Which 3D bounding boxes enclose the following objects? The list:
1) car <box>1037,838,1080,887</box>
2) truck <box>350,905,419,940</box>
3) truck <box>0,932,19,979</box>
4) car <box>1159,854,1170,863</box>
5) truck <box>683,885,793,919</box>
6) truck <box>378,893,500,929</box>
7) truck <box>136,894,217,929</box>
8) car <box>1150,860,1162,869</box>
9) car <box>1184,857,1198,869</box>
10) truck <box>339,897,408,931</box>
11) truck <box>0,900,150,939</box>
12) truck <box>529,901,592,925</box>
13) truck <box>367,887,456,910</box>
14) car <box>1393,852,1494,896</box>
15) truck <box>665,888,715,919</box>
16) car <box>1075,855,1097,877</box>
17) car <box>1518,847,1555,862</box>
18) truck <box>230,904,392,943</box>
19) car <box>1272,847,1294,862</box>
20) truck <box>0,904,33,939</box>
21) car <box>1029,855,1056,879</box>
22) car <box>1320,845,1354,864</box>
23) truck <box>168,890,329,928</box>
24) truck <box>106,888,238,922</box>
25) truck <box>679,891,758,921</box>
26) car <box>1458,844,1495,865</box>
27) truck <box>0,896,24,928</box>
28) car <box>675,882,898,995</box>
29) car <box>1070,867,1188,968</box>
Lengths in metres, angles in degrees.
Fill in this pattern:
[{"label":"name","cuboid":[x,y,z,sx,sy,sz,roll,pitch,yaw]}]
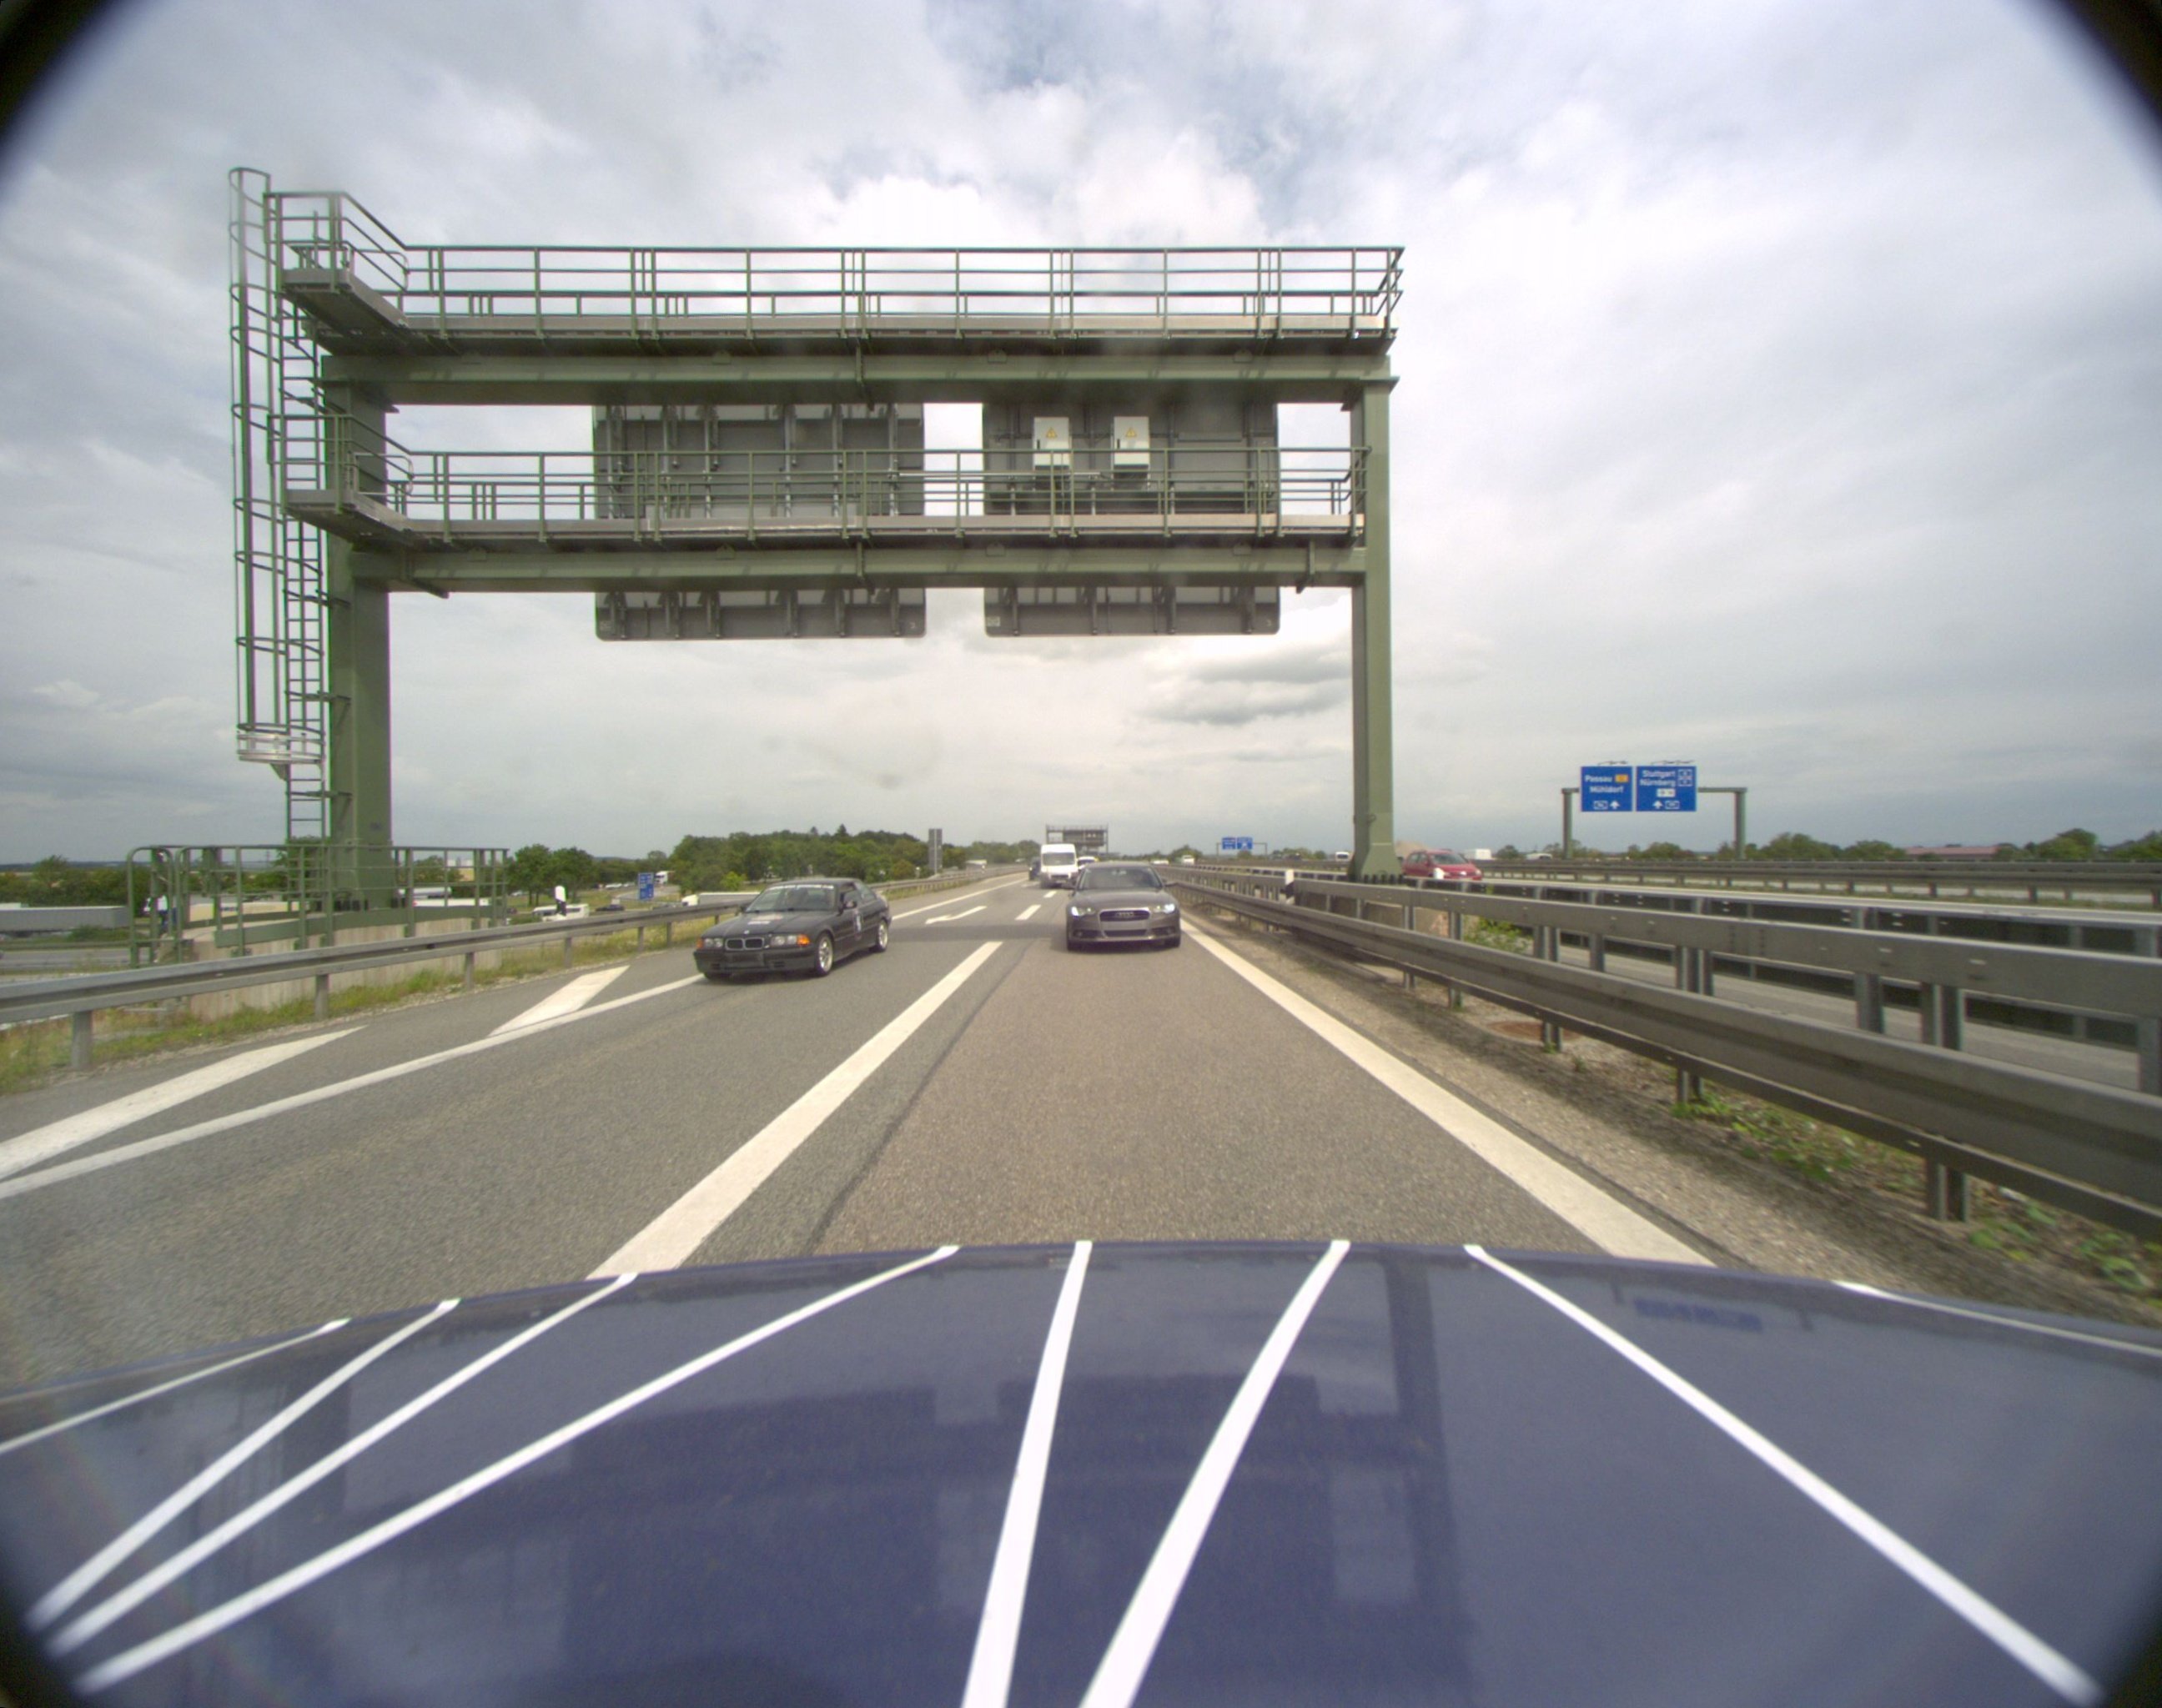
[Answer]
[{"label":"car","cuboid":[-1.199,0.476,42.680,2.119,2.439,6.152,-2,-1,-1]},{"label":"truck","cuboid":[-78.874,7.746,86.136,5.169,3.657,2.494,-1,-1,-16]},{"label":"truck","cuboid":[-98.724,9.127,66.355,6.532,4.075,2.987,-2,0,-14]},{"label":"car","cuboid":[19.725,1.081,180.484,1.999,1.870,4.000,-2,-1,-1]},{"label":"truck","cuboid":[-57.164,7.959,127.217,16.179,4.672,3.989,-2,1,-13]},{"label":"truck","cuboid":[-98.193,8.658,116.580,13.796,4.527,4.004,-2,0,-14]},{"label":"truck","cuboid":[-130.033,8.214,109.346,6.296,4.484,3.928,-2,0,-13]},{"label":"car","cuboid":[16.141,2.256,163.299,1.999,1.739,4.000,-2,-1,-1]},{"label":"car","cuboid":[20.392,1.699,141.013,1.998,2.001,4.466,-2,-1,1]},{"label":"truck","cuboid":[-106.557,8.994,114.582,6.295,4.484,3.928,-2,0,-13]},{"label":"truck","cuboid":[-141.221,9.102,106.019,14.889,4.527,4.004,-2,0,-13]},{"label":"truck","cuboid":[-79.893,8.991,116.689,7.570,3.178,2.230,-2,0,-13]},{"label":"truck","cuboid":[-145.869,9.627,165.906,3.079,4.065,14.755,-2,-1,21]},{"label":"car","cuboid":[14.103,0.773,29.879,1.824,1.536,4.355,-2,-1,-1]},{"label":"truck","cuboid":[-64.492,8.124,125.590,6.294,4.647,3.928,-2,1,-11]},{"label":"car","cuboid":[0.469,1.065,68.642,1.846,1.870,4.289,-2,-1,1]},{"label":"car","cuboid":[50.242,0.012,83.865,1.670,1.487,3.910,-5,0,1]},{"label":"truck","cuboid":[-85.207,7.669,84.382,13.147,3.657,2.494,-1,-1,-16]},{"label":"car","cuboid":[27.322,0.048,102.956,1.746,1.797,4.902,-4,0,3]},{"label":"truck","cuboid":[-149.826,9.383,104.058,6.295,4.484,3.928,-2,0,-13]},{"label":"car","cuboid":[-3.048,1.044,60.430,1.929,1.761,4.000,-2,-1,-1]},{"label":"car","cuboid":[27.582,0.030,82.093,1.915,1.783,4.823,-5,0,1]},{"label":"truck","cuboid":[-121.622,7.953,111.387,16.371,4.527,4.004,-2,0,-13]},{"label":"truck","cuboid":[-163.678,9.109,137.292,3.851,5.183,14.887,-3,-1,43]},{"label":"truck","cuboid":[-57.271,8.118,120.407,10.790,4.047,3.237,-2,0,-17]},{"label":"car","cuboid":[46.621,0.077,89.706,1.998,2.292,4.491,-2,-1,1]},{"label":"truck","cuboid":[-181.520,9.721,122.085,13.026,5.010,3.942,-2,-1,-42]},{"label":"car","cuboid":[-4.308,1.168,11.930,1.708,1.273,4.366,-2,-1,1]},{"label":"car","cuboid":[0.765,1.003,13.529,1.747,1.380,4.000,-2,0,1]}]
